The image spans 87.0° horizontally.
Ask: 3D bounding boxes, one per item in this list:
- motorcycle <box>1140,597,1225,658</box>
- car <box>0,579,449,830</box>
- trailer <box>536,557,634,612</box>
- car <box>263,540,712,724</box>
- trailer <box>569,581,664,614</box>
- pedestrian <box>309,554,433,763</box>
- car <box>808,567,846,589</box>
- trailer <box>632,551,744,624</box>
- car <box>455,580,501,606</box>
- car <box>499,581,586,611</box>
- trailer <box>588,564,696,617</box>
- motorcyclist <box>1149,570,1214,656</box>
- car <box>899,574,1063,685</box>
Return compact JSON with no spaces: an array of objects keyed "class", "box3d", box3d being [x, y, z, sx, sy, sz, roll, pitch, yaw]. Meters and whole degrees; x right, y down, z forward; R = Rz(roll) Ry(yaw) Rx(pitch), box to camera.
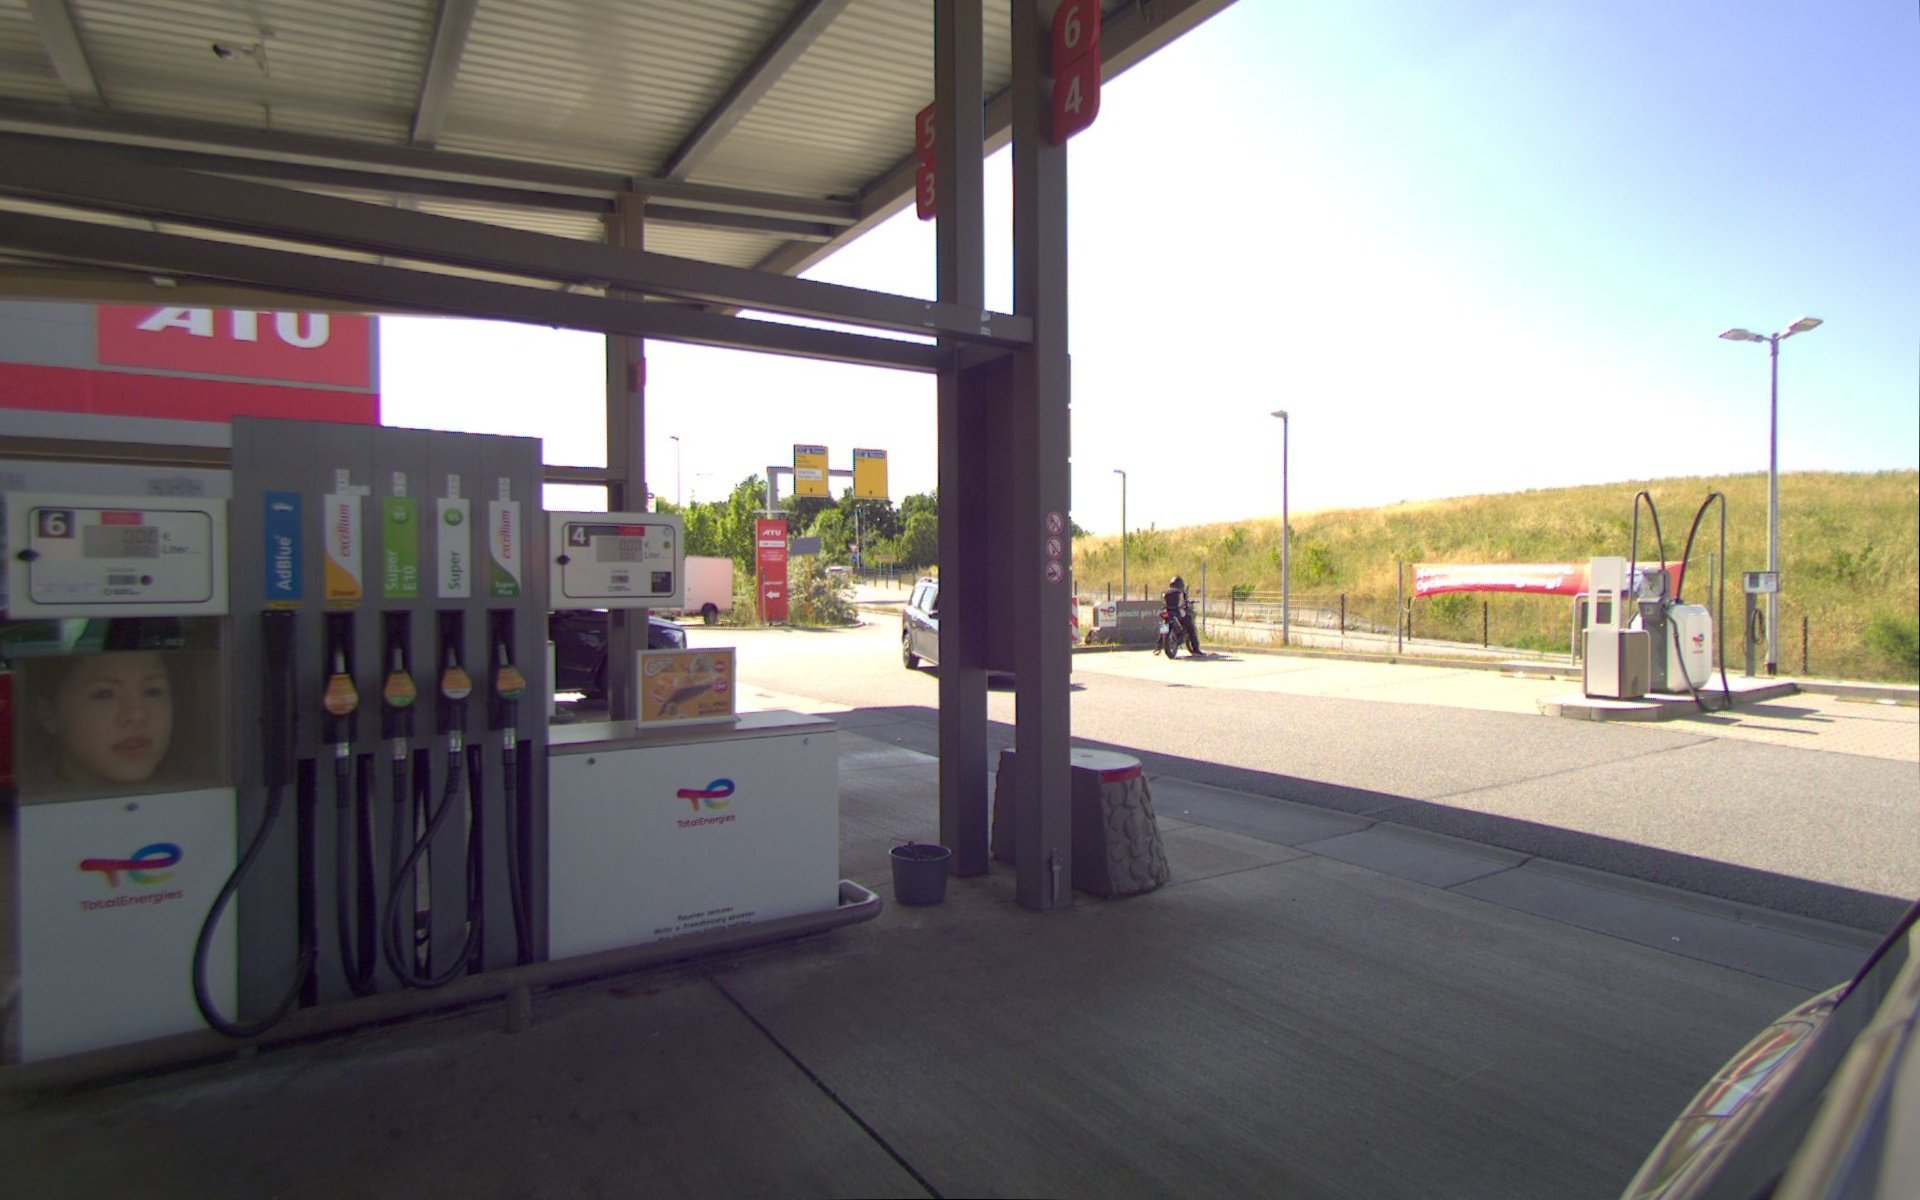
[{"class":"motorcycle","box3d":[4.698,0.531,21.213,1.038,1.119,2.389,1,2,32]},{"class":"car","box3d":[-5.898,0.607,6.886,4.151,1.487,1.705,0,1,-34]},{"class":"trailer","box3d":[-17.375,-0.727,47.013,1.982,2.457,3.960,1,1,29]},{"class":"car","box3d":[-5.712,0.333,12.518,4.705,1.874,2.035,1,0,-34]},{"class":"trailer","box3d":[-14.407,-0.123,42.578,1.566,1.297,3.677,1,1,32]},{"class":"pedestrian","box3d":[-5.179,0.473,8.899,0.910,1.724,0.704,0,0,-33]},{"class":"car","box3d":[-9.345,-1.587,70.889,1.671,1.441,4.104,0,2,-23]},{"class":"trailer","box3d":[-9.583,-0.463,35.952,1.974,2.457,3.976,1,1,19]},{"class":"car","box3d":[-25.915,-0.387,54.401,1.650,1.334,3.836,0,1,-35]},{"class":"car","box3d":[-19.707,-0.230,47.918,1.662,1.334,3.806,1,1,23]},{"class":"trailer","box3d":[-12.681,-0.387,40.546,1.789,2.039,3.955,0,1,32]},{"class":"motorcyclist","box3d":[4.607,0.245,21.058,1.027,1.709,1.086,1,1,32]},{"class":"car","box3d":[0.202,0.413,17.701,1.707,1.665,4.642,0,1,-14]}]
